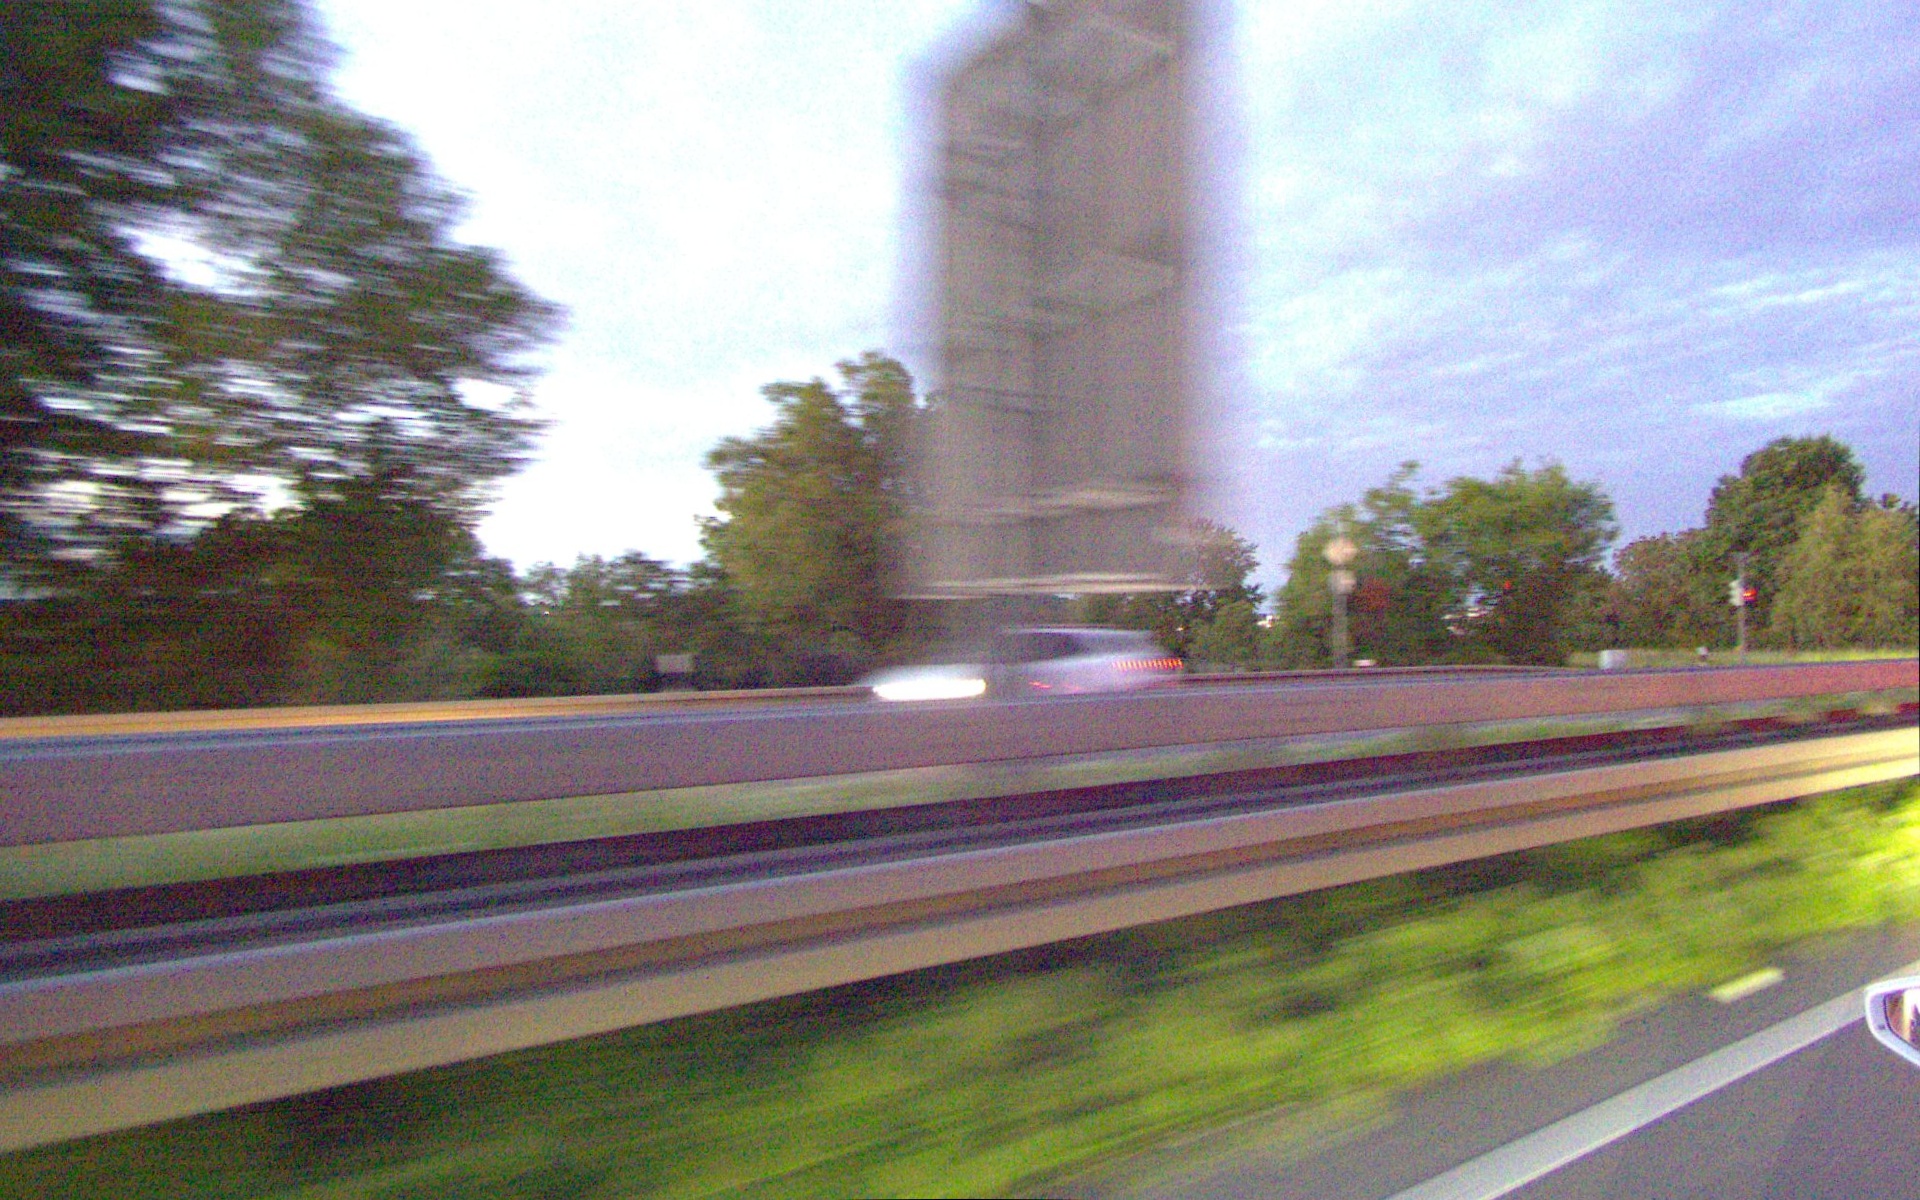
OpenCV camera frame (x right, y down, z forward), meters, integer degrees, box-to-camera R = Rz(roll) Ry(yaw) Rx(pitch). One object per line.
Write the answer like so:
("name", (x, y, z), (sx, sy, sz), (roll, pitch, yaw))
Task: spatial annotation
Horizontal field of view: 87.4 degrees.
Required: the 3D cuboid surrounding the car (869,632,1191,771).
("car", (1.075, 1.327, 14.430), (4.452, 1.693, 1.785), (1, -1, -33))
